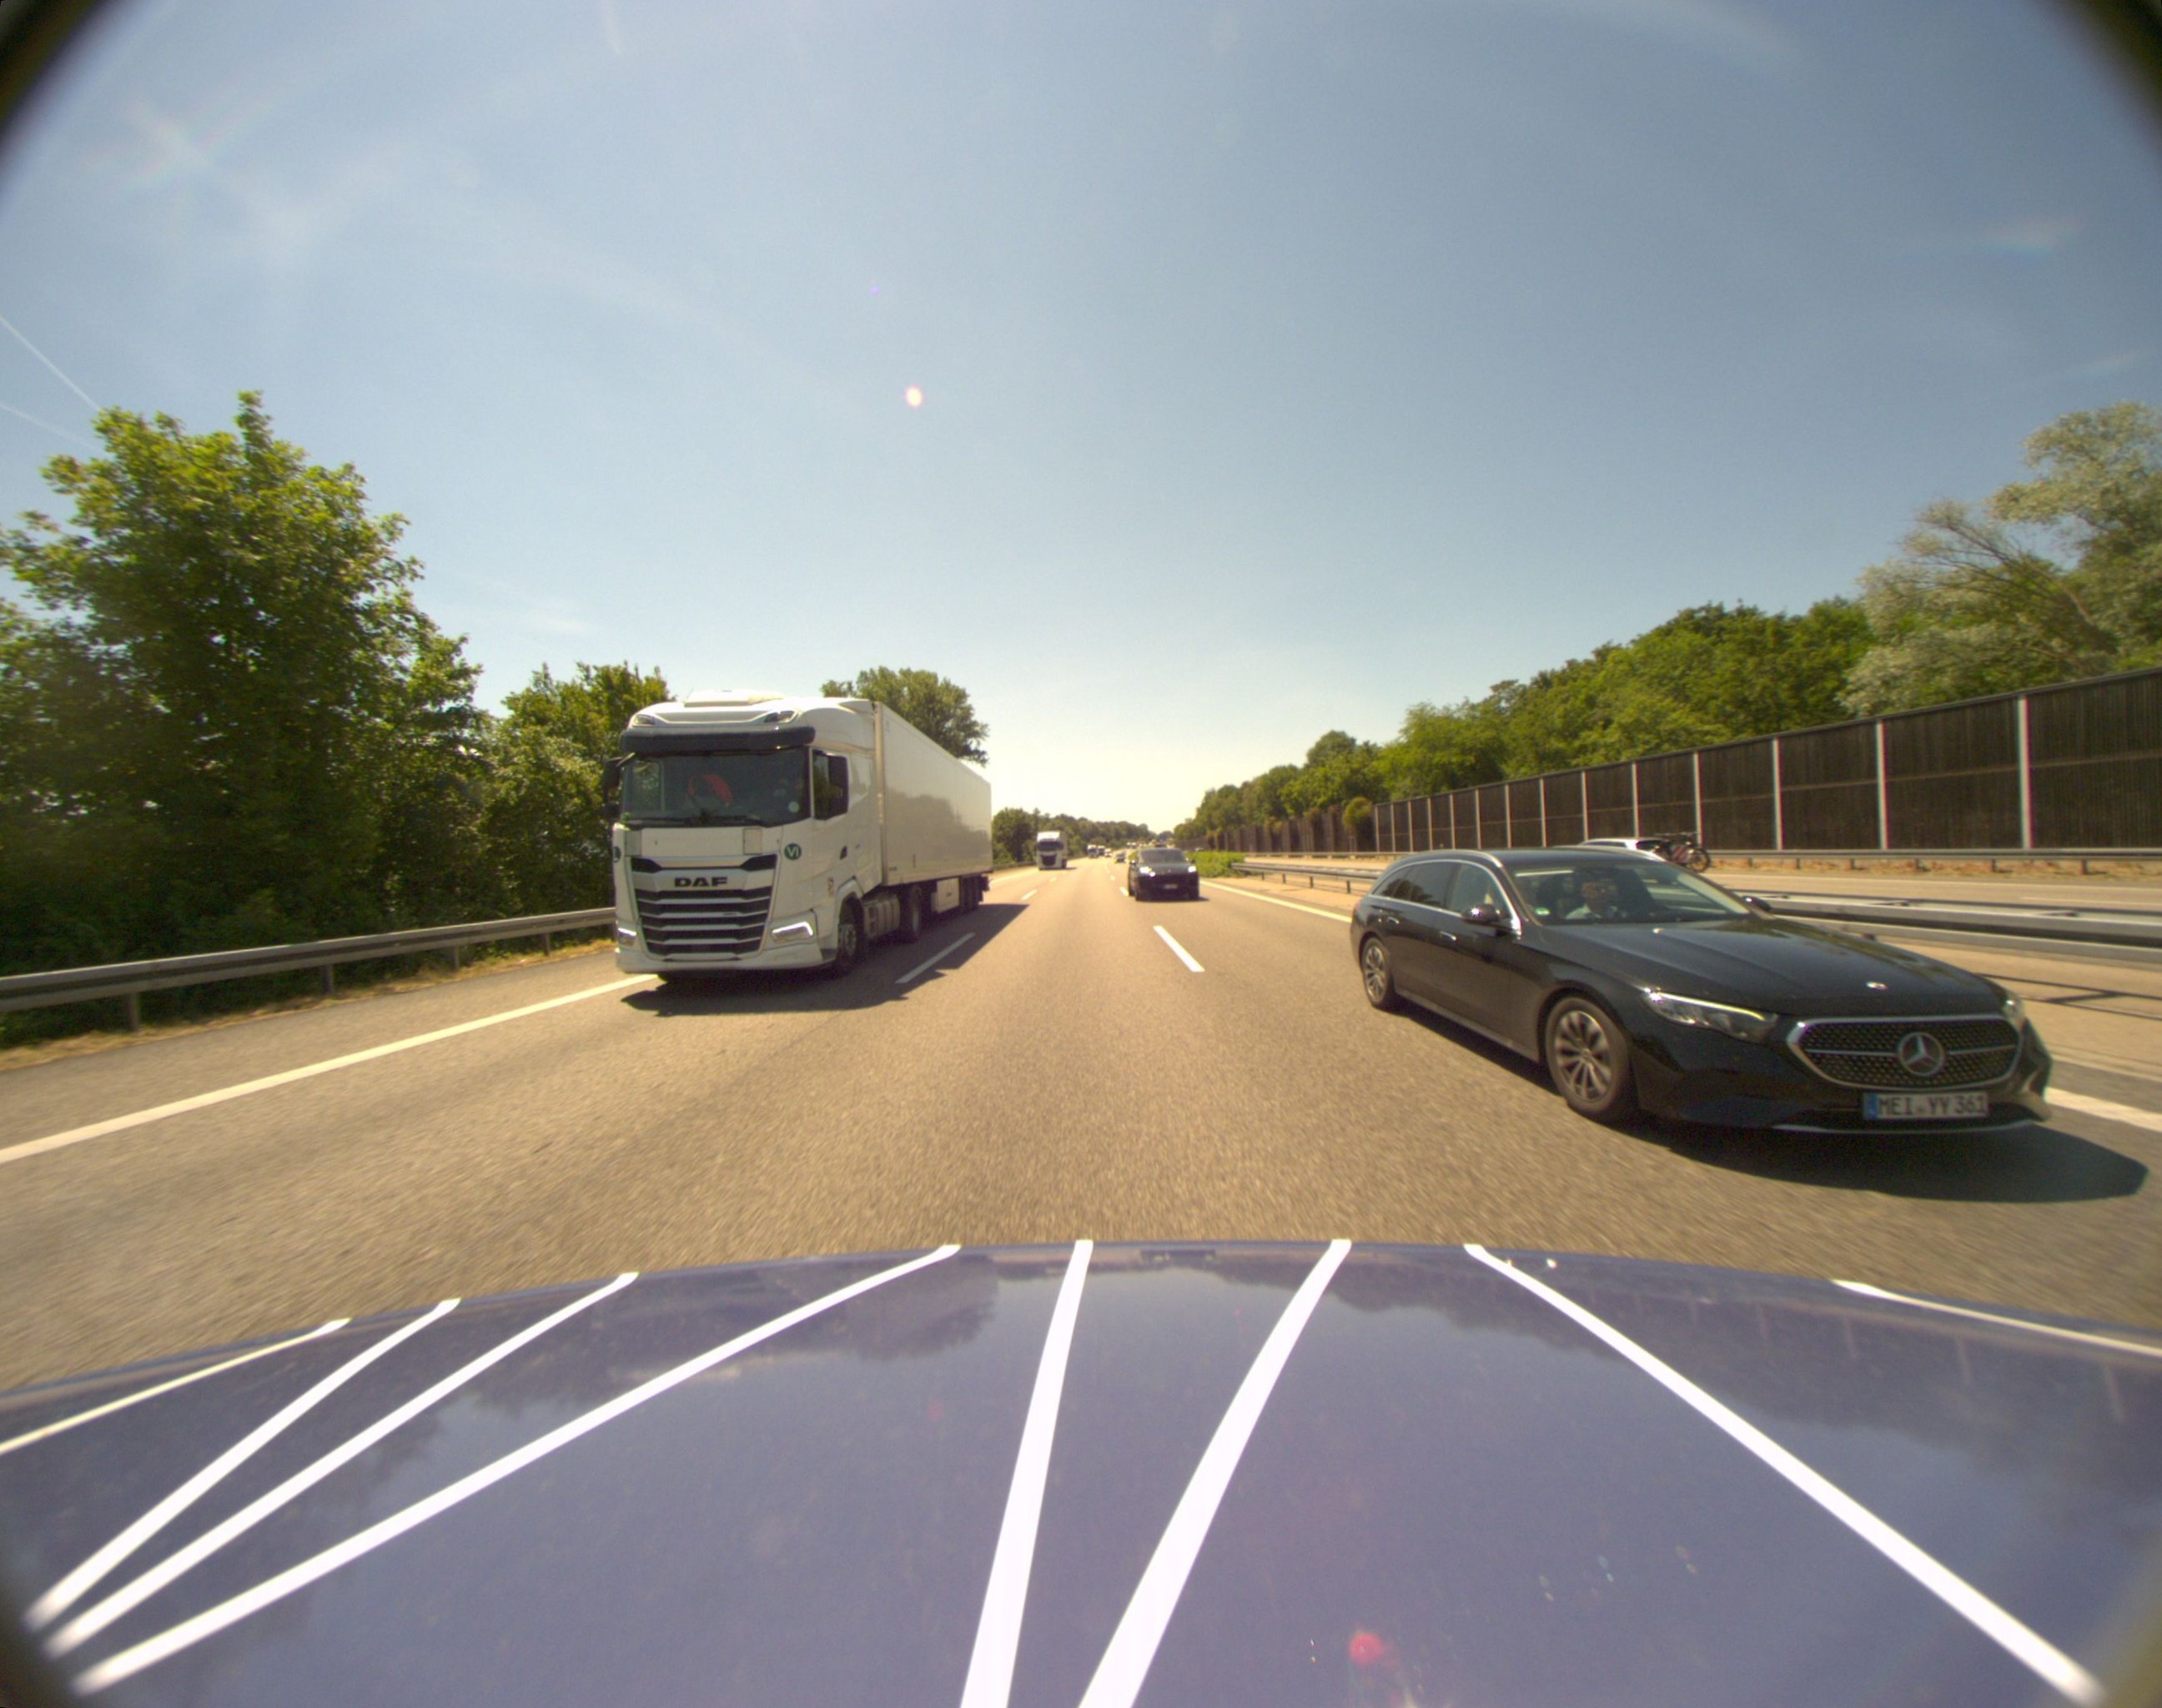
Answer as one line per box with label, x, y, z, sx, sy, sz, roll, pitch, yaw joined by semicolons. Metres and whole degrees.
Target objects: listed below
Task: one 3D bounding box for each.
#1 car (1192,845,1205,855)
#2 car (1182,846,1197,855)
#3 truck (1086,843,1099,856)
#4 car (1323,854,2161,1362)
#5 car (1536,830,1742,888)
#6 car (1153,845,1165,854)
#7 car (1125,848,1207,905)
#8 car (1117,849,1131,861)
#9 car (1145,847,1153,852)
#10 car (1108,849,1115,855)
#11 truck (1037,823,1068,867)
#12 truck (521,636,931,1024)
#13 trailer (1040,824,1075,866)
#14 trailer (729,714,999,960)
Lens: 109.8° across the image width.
car;25.130;-0.908;162.282;1.998;2.002;5.385;-2;0;2
car;20.202;-0.698;141.419;1.998;1.634;5.586;-2;0;1
truck;3.630;-1.348;231.630;3.073;3.617;12.404;-2;1;5
car;3.630;0.805;5.314;1.948;1.498;5.820;-2;0;0
car;17.290;0.122;24.082;2.130;1.513;5.982;-2;0;0
car;17.264;-1.002;167.727;1.998;2.002;5.346;-2;0;1
car;2.708;0.660;25.551;2.049;1.616;5.771;-2;0;0
car;6.712;0.180;118.095;1.908;1.717;4.377;-2;1;5
car;20.461;-1.339;228.428;1.998;1.637;5.045;-2;0;1
car;9.811;-0.541;241.864;1.908;1.717;4.871;-2;1;5
truck;-2.989;-0.947;81.724;2.541;4.446;5.573;-2;1;4
truck;-4.446;-0.271;11.314;2.966;4.082;6.206;-2;1;0
trailer;-2.608;-1.024;88.462;2.541;4.446;14.162;-2;1;4
trailer;-4.379;-0.324;19.251;2.966;4.082;12.531;-2;0;1
